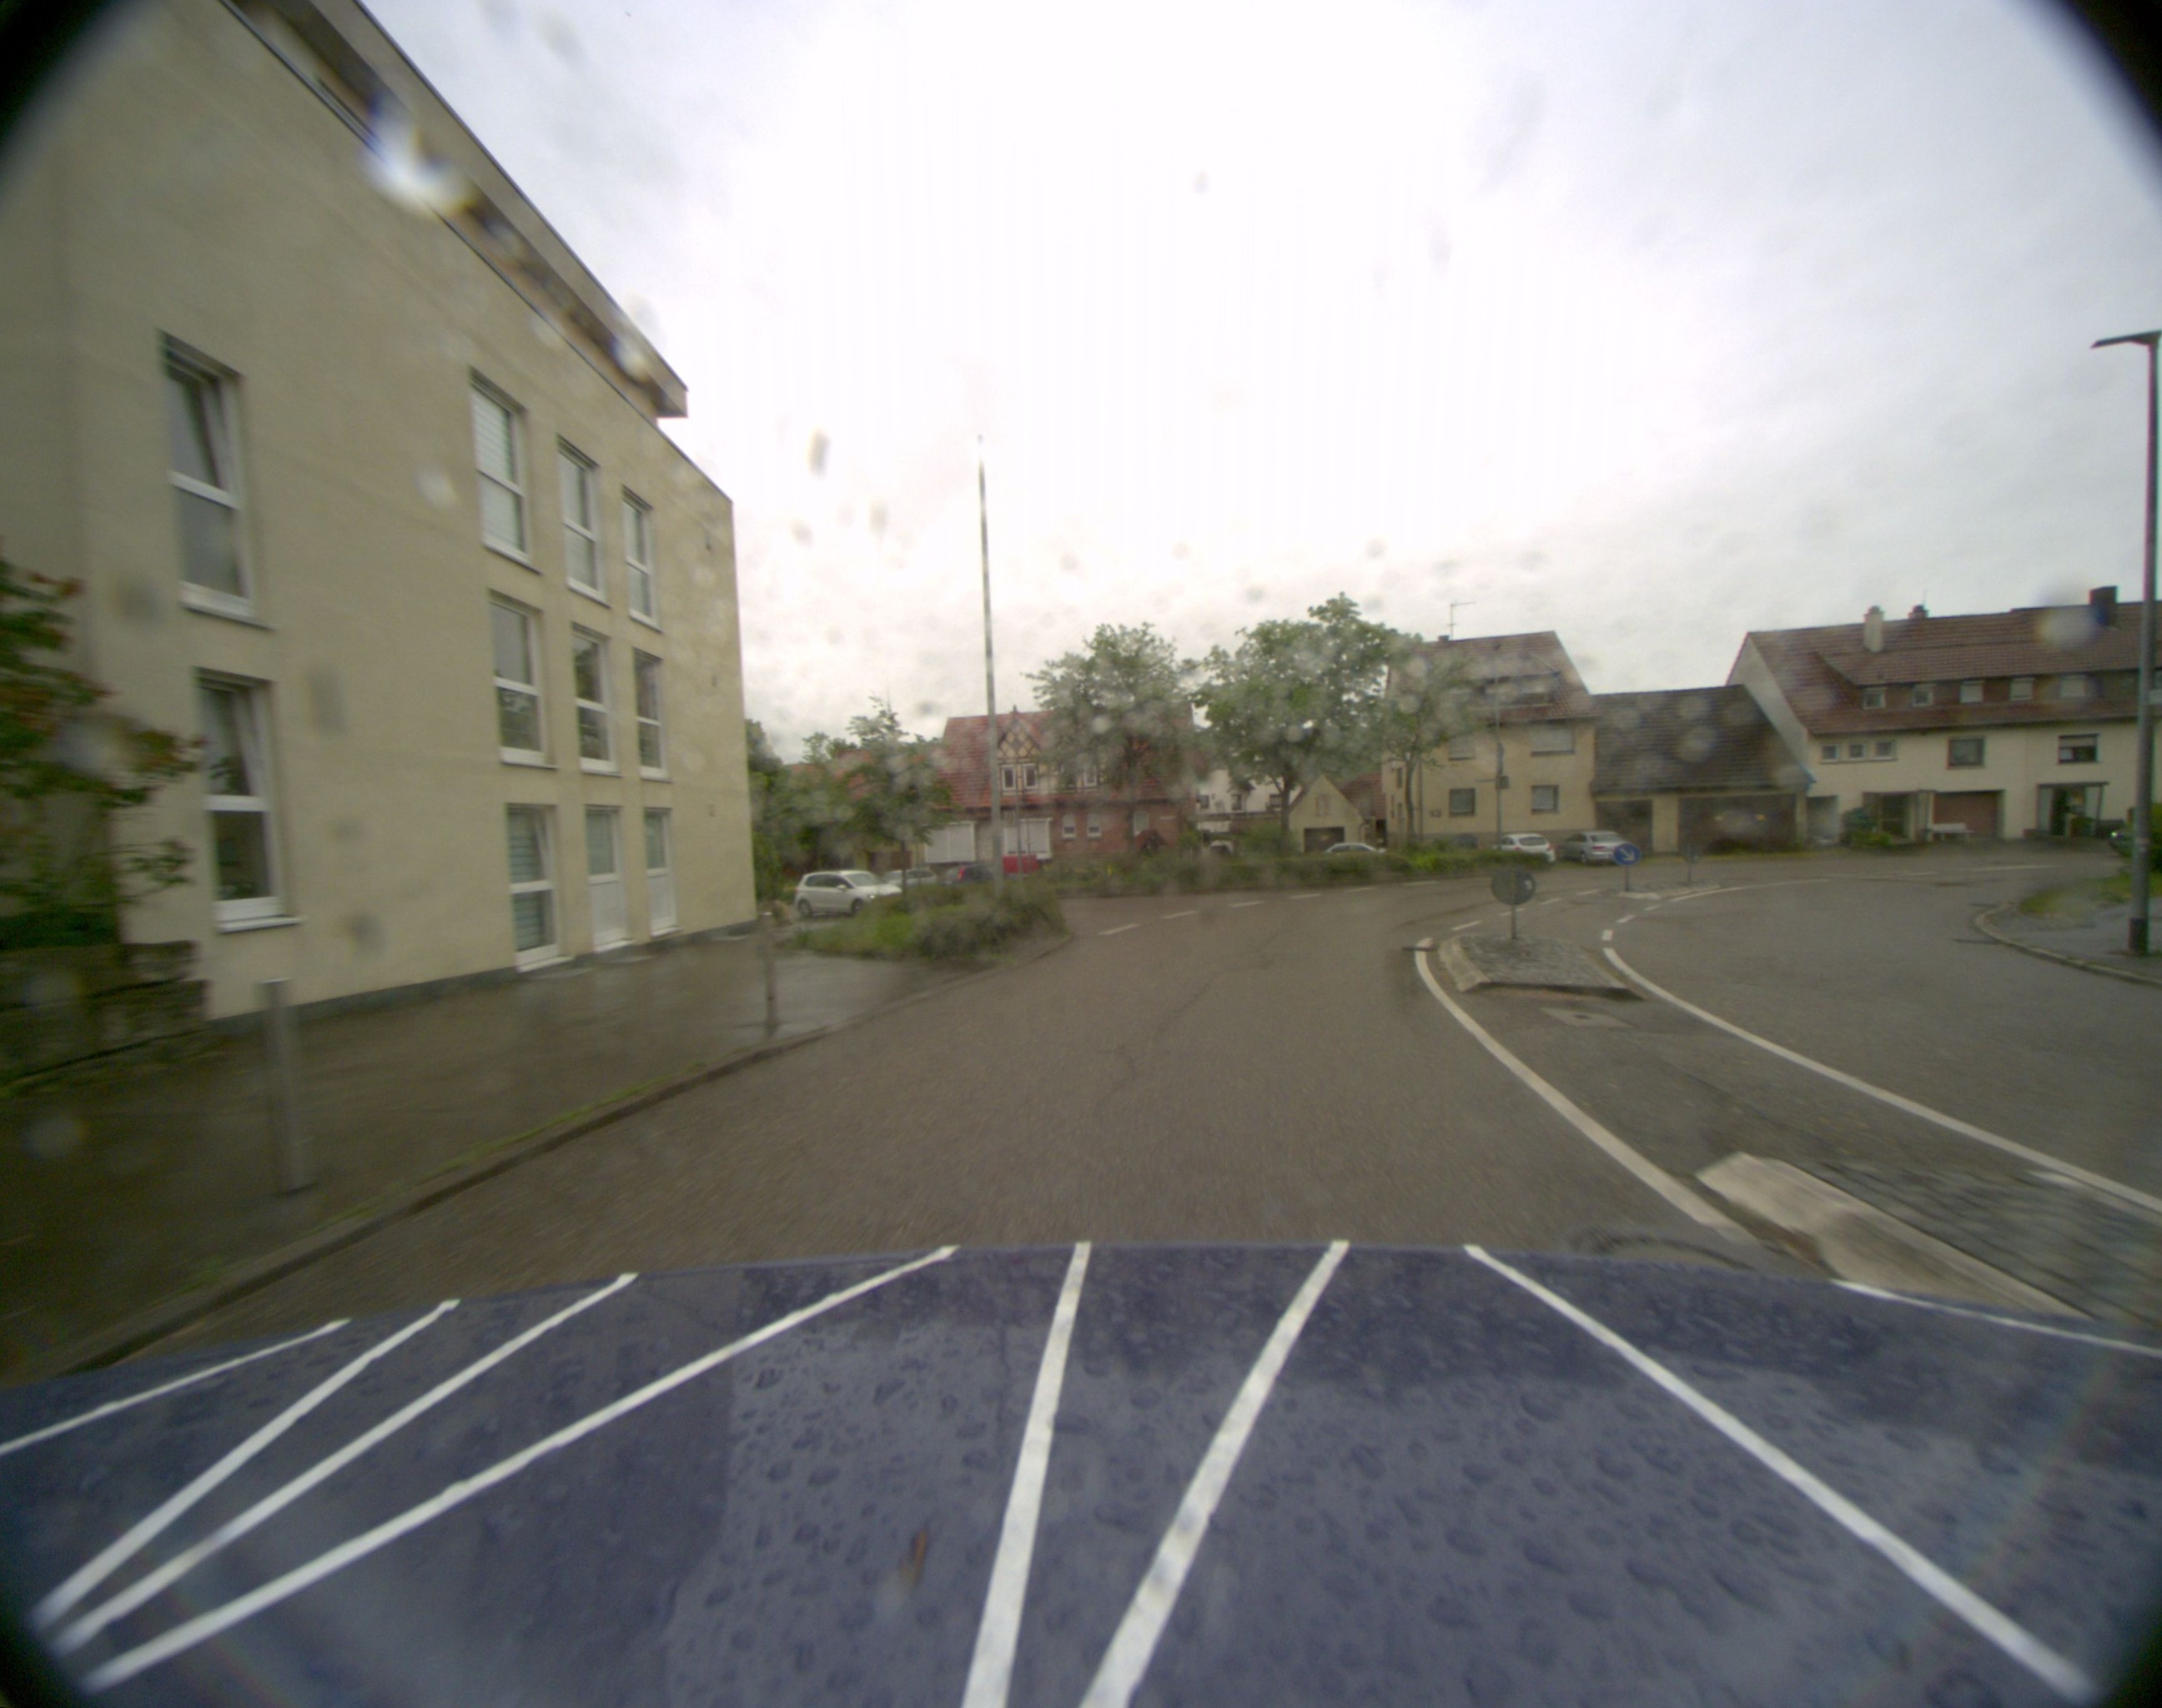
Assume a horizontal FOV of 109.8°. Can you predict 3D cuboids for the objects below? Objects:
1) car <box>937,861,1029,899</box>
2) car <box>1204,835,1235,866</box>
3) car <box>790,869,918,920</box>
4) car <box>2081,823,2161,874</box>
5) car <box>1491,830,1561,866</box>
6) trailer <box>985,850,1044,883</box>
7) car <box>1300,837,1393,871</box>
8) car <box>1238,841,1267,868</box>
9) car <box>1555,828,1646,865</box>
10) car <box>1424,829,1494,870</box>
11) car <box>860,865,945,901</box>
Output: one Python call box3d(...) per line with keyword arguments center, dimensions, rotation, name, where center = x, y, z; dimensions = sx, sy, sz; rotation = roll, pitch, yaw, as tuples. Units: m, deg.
box3d(center=(-4.352, 1.120, 33.965), dimensions=(3.740, 1.382, 1.619), rotation=(-4, 2, -40), name="car")
box3d(center=(9.614, -0.278, 52.995), dimensions=(1.598, 2.002, 4.000), rotation=(-3, 1, 3), name="car")
box3d(center=(-7.731, 1.357, 25.806), dimensions=(4.139, 1.527, 1.760), rotation=(-2, 2, 30), name="car")
box3d(center=(37.314, -0.248, 25.607), dimensions=(3.993, 1.522, 2.000), rotation=(-2, 4, 12), name="car")
box3d(center=(20.682, -0.296, 35.473), dimensions=(1.716, 1.521, 3.433), rotation=(-3, 1, 10), name="car")
box3d(center=(-3.563, 0.687, 40.671), dimensions=(2.719, 1.640, 1.414), rotation=(-2, 1, 19), name="trailer")
box3d(center=(13.325, -0.003, 38.381), dimensions=(4.257, 1.431, 1.909), rotation=(-2, 3, 14), name="car")
box3d(center=(10.491, 0.008, 46.500), dimensions=(1.599, 1.488, 4.003), rotation=(-3, 0, 13), name="car")
box3d(center=(23.558, -0.381, 34.691), dimensions=(1.818, 1.407, 4.630), rotation=(-2, 3, 13), name="car")
box3d(center=(17.946, -0.275, 36.258), dimensions=(1.746, 1.574, 3.999), rotation=(-4, 4, 8), name="car")
box3d(center=(-8.375, 1.335, 35.981), dimensions=(1.620, 1.382, 4.006), rotation=(-2, 1, 27), name="car")
